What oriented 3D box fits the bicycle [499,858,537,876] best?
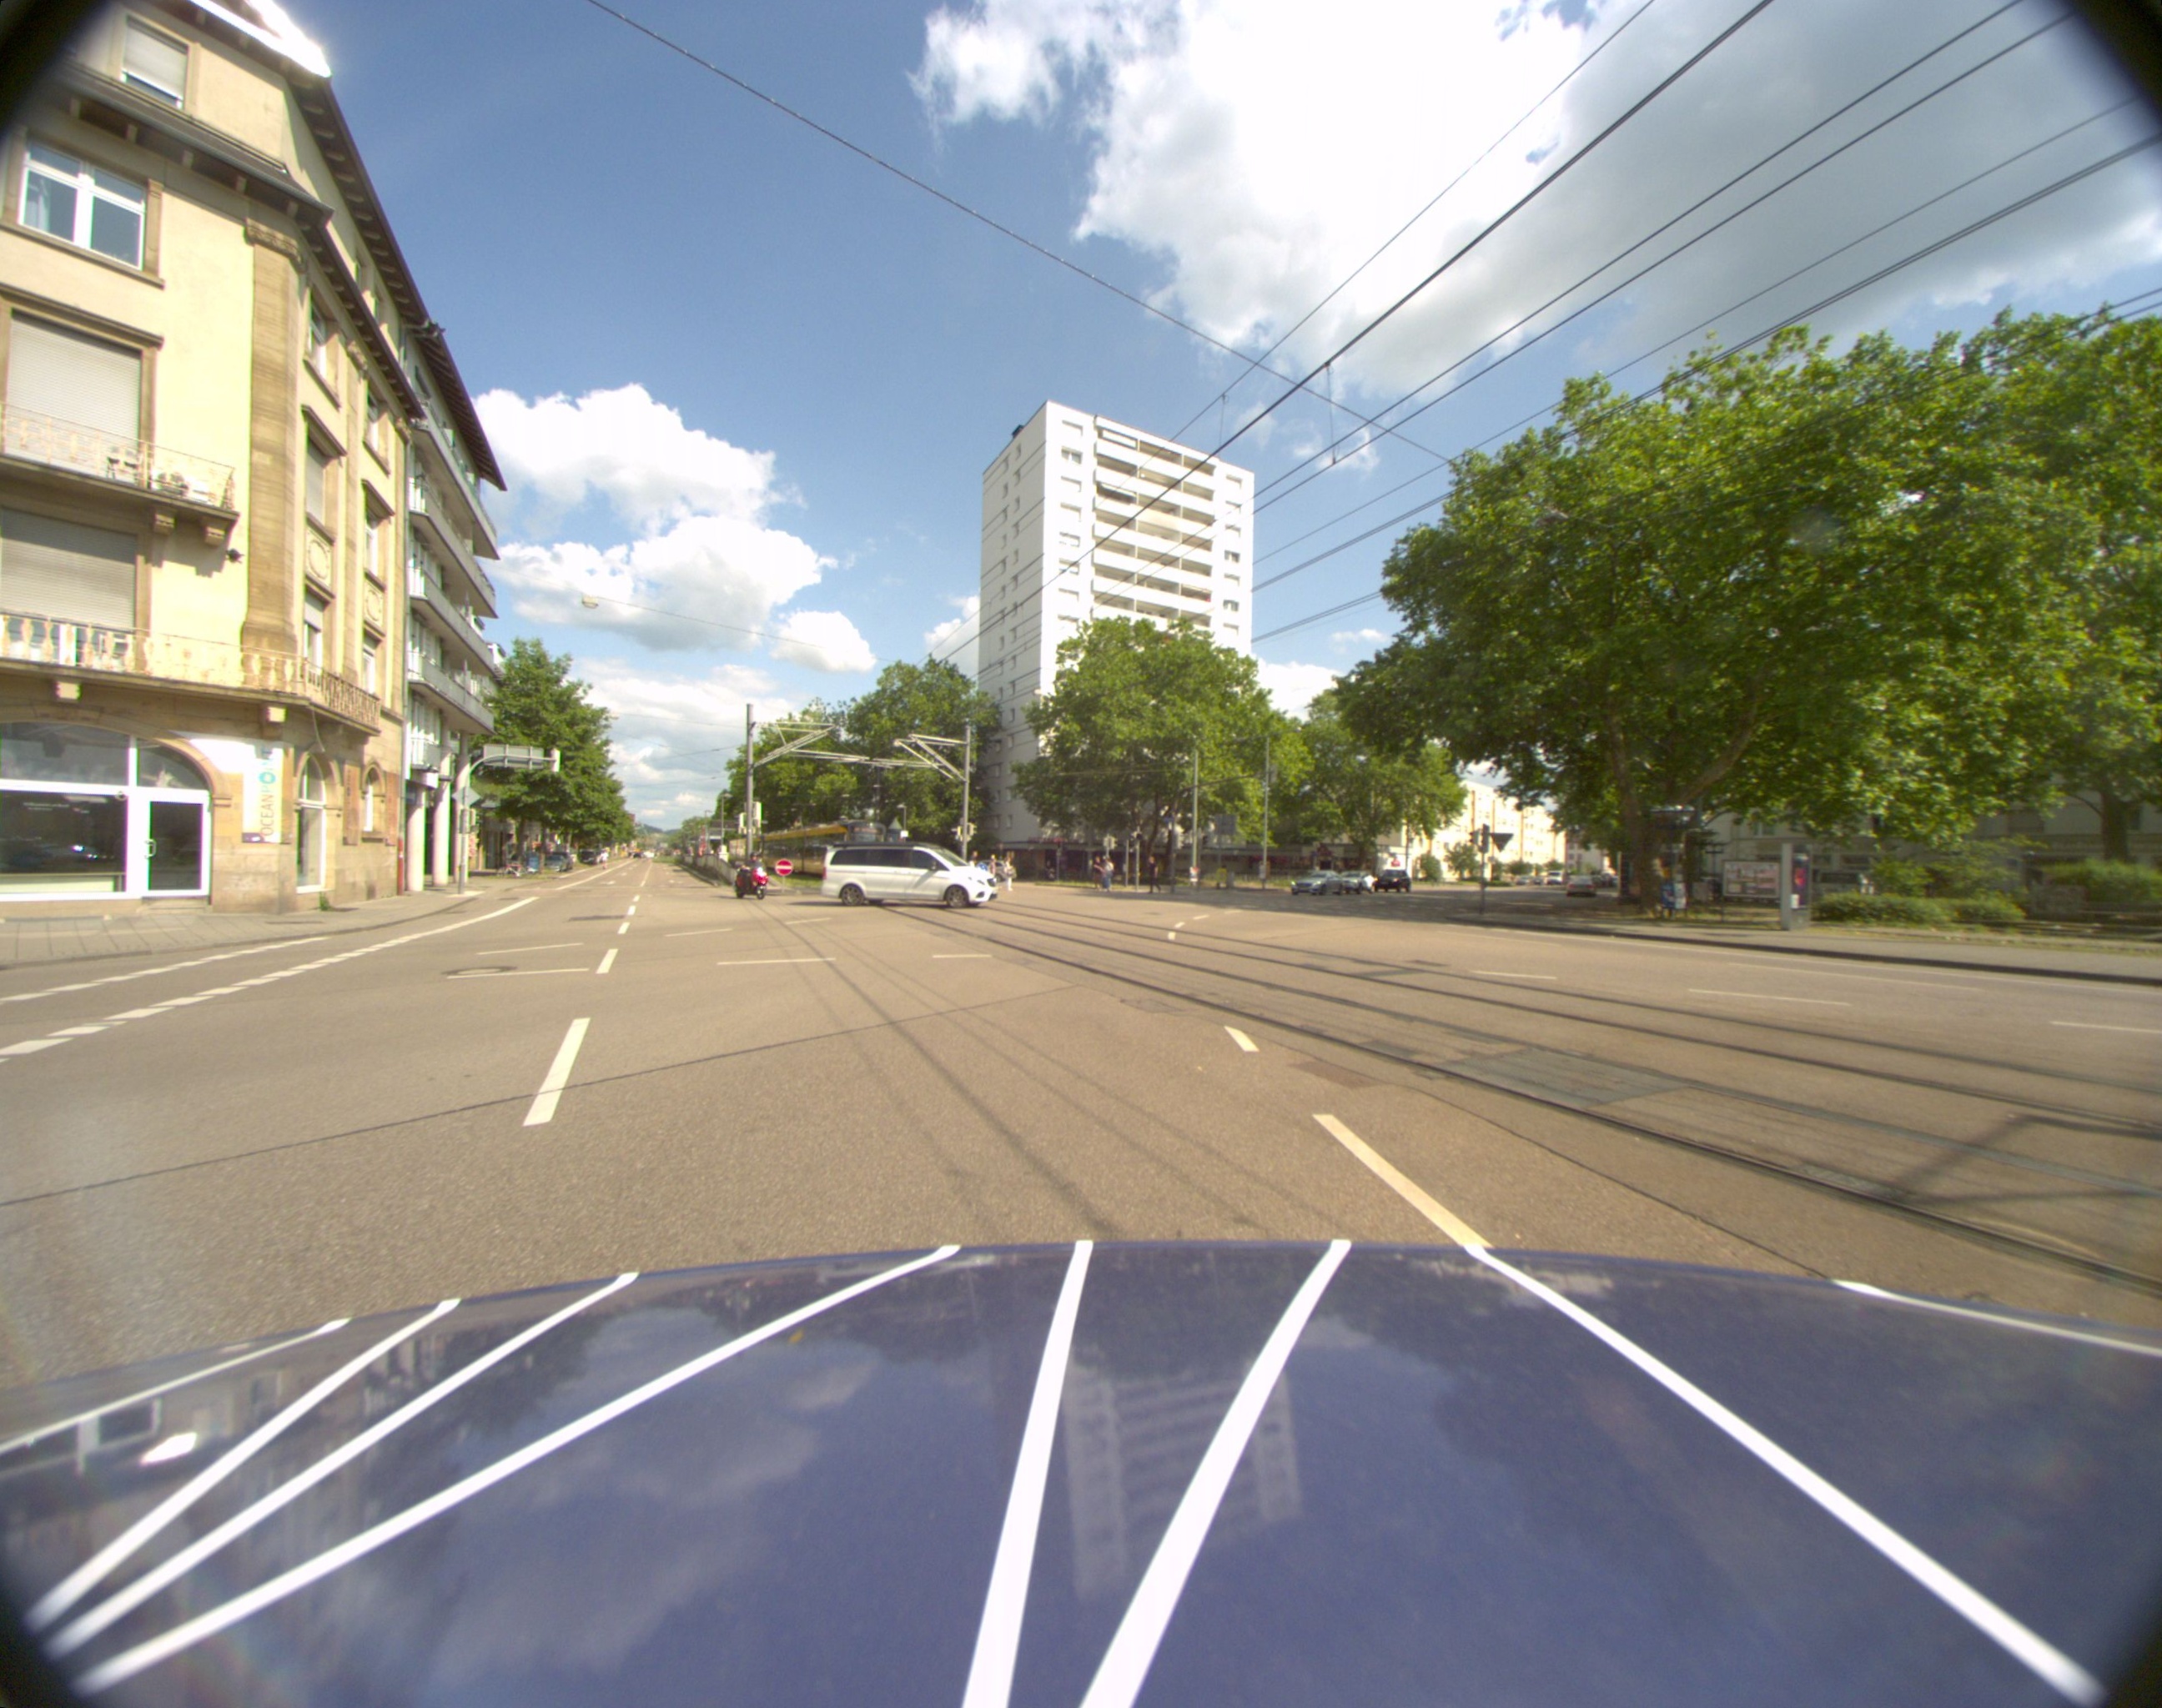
[{"bbox_3d":[-31.845,0.730,43.014,1.697,0.980,0.496,1,0,-32],"label":"bicycle"}]

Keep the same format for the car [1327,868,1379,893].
[{"bbox_3d":[17.572,1.673,48.935,1.855,1.481,4.085,1,0,40],"label":"car"}]

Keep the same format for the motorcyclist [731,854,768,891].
[{"bbox_3d":[-11.430,0.632,26.216,0.975,1.210,0.700,1,1,26],"label":"motorcyclist"}]

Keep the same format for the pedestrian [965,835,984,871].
[{"bbox_3d":[-5.102,-0.059,36.424,0.672,1.693,0.646,1,1,-26],"label":"pedestrian"}]

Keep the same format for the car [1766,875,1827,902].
[{"bbox_3d":[47.094,2.256,49.997,4.091,1.650,1.847,1,0,-31],"label":"car"}]

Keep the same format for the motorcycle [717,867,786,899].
[{"bbox_3d":[-11.365,0.988,26.180,2.498,0.971,0.700,1,1,27],"label":"motorcycle"}]

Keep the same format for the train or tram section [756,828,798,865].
[{"bbox_3d":[-30.391,-0.749,75.715,2.780,3.462,8.885,1,0,-28],"label":"train or tram section"}]

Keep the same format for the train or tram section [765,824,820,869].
[{"bbox_3d":[-25.403,-0.656,66.465,2.820,3.540,12.127,1,0,-28],"label":"train or tram section"}]

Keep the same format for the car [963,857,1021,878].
[{"bbox_3d":[-6.635,0.980,56.557,3.841,1.481,1.863,1,0,16],"label":"car"}]

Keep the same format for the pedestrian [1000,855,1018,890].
[{"bbox_3d":[-3.514,0.906,37.210,0.672,1.693,0.646,1,1,-26],"label":"pedestrian"}]

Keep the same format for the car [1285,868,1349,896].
[{"bbox_3d":[13.638,1.571,43.804,1.855,1.481,4.009,1,0,44],"label":"car"}]

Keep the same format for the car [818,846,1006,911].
[{"bbox_3d":[-5.035,0.701,23.027,5.164,1.880,2.001,0,0,7],"label":"car"}]

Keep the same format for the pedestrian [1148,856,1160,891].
[{"bbox_3d":[3.827,1.035,39.775,0.481,1.814,0.557,1,0,13],"label":"pedestrian"}]

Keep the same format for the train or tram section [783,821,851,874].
[{"bbox_3d":[-19.728,-0.477,56.274,2.820,3.540,11.154,1,0,-29],"label":"train or tram section"}]

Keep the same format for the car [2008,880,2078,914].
[{"bbox_3d":[51.671,2.279,40.801,4.091,1.650,1.847,1,0,-32],"label":"car"}]

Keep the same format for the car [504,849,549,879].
[{"bbox_3d":[-35.842,0.646,49.211,1.856,1.778,3.990,4,-1,-30],"label":"car"}]

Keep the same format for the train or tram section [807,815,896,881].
[{"bbox_3d":[-14.270,-0.364,46.452,2.810,3.540,11.348,1,0,-29],"label":"train or tram section"}]

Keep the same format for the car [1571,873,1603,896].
[{"bbox_3d":[38.105,2.278,57.160,1.685,1.493,4.009,1,1,37],"label":"car"}]

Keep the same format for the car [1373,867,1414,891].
[{"bbox_3d":[22.693,1.792,55.129,1.685,1.610,4.009,1,0,39],"label":"car"}]

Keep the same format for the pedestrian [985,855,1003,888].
[{"bbox_3d":[-4.515,0.924,39.413,0.672,1.693,0.646,1,1,-26],"label":"pedestrian"}]
